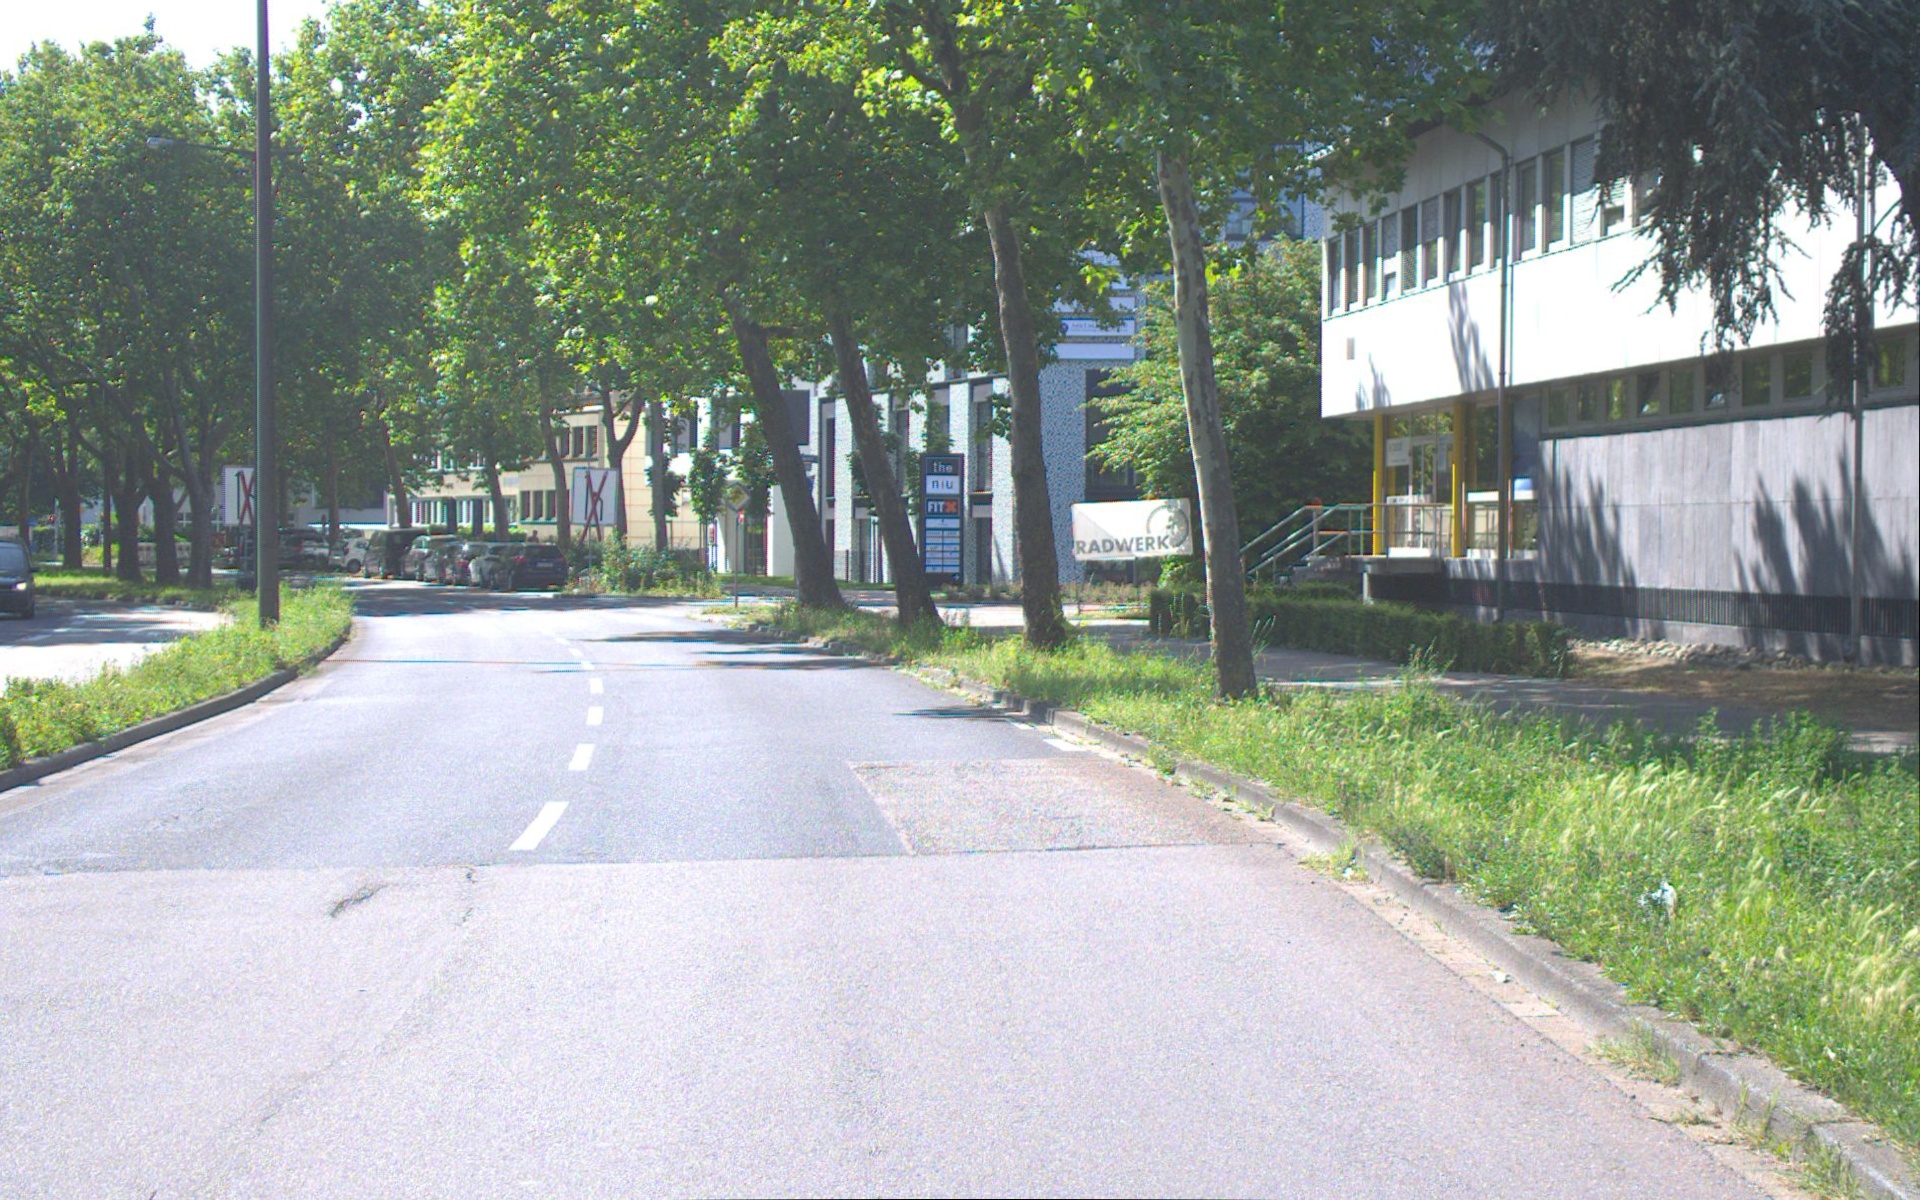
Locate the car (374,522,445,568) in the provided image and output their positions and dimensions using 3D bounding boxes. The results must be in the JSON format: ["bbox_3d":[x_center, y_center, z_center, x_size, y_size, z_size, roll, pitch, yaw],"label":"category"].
[{"bbox_3d":[-20.492,-2.046,127.760,1.706,1.664,4.535,0,1,-21],"label":"car"}]

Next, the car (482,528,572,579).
[{"bbox_3d":[-13.304,-1.443,105.495,1.706,1.482,4.720,-1,1,-20],"label":"car"}]

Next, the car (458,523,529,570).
[{"bbox_3d":[-15.073,-1.731,110.913,1.706,1.482,4.102,0,1,-16],"label":"car"}]

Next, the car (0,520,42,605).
[{"bbox_3d":[-21.468,-0.844,76.237,1.685,1.832,4.996,-1,1,-10],"label":"car"}]

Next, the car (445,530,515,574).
[{"bbox_3d":[-16.202,-1.644,115.945,1.706,1.450,4.657,0,1,-16],"label":"car"}]
